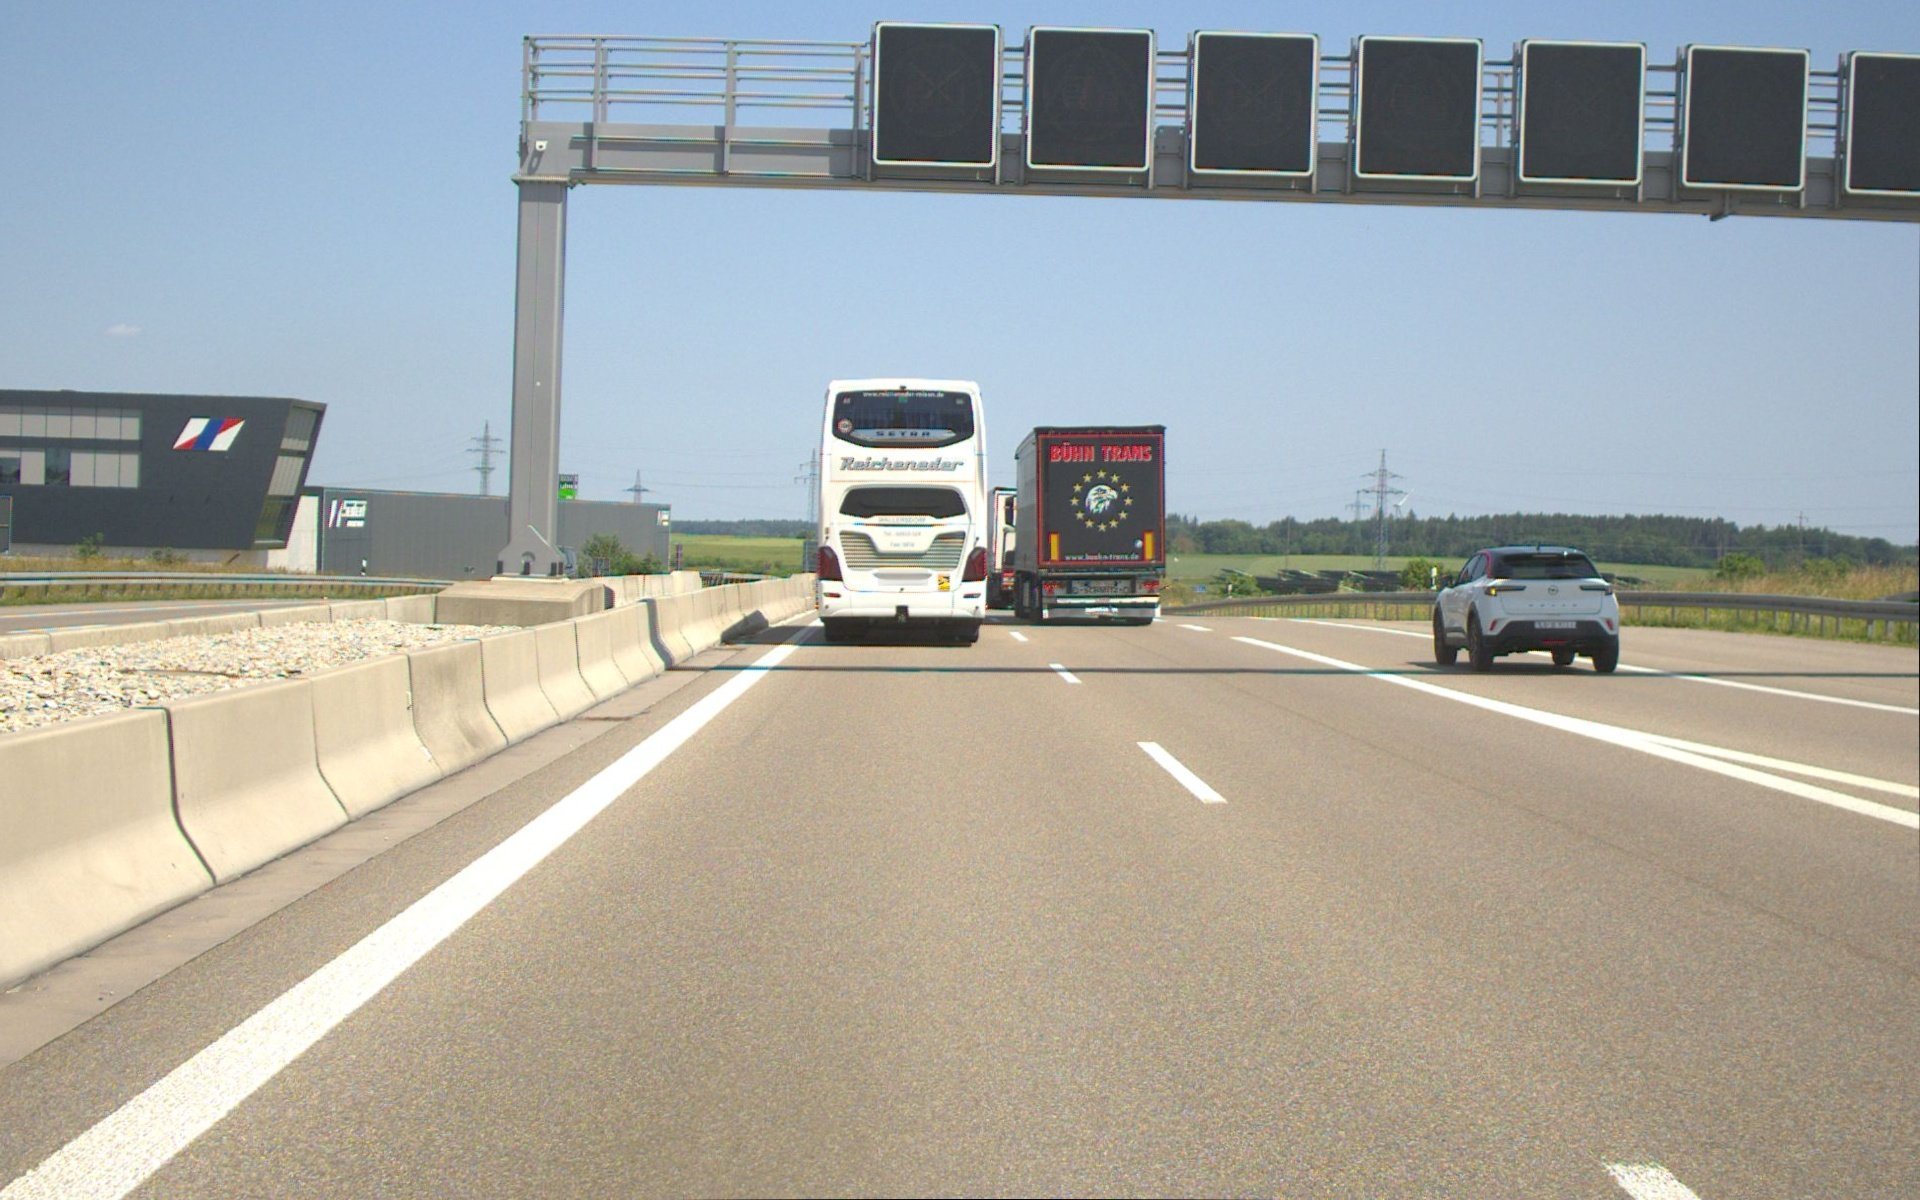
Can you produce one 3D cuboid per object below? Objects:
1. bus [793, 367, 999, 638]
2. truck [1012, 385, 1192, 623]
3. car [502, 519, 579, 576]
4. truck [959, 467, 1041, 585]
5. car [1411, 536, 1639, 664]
[{"bbox_3d":[-1.153,-1.595,55.470,2.980,3.961,9.106,1,2,-3],"label":"bus"},{"bbox_3d":[2.881,-1.832,73.882,3.379,4.448,13.566,2,-1,1],"label":"truck"},{"bbox_3d":[-15.304,-1.927,125.625,2.148,2.007,5.382,1,1,0],"label":"car"},{"bbox_3d":[1.280,-2.468,114.325,2.437,3.776,6.494,1,1,-2],"label":"truck"},{"bbox_3d":[7.101,-0.038,43.622,1.890,1.524,4.263,1,1,-4],"label":"car"}]
